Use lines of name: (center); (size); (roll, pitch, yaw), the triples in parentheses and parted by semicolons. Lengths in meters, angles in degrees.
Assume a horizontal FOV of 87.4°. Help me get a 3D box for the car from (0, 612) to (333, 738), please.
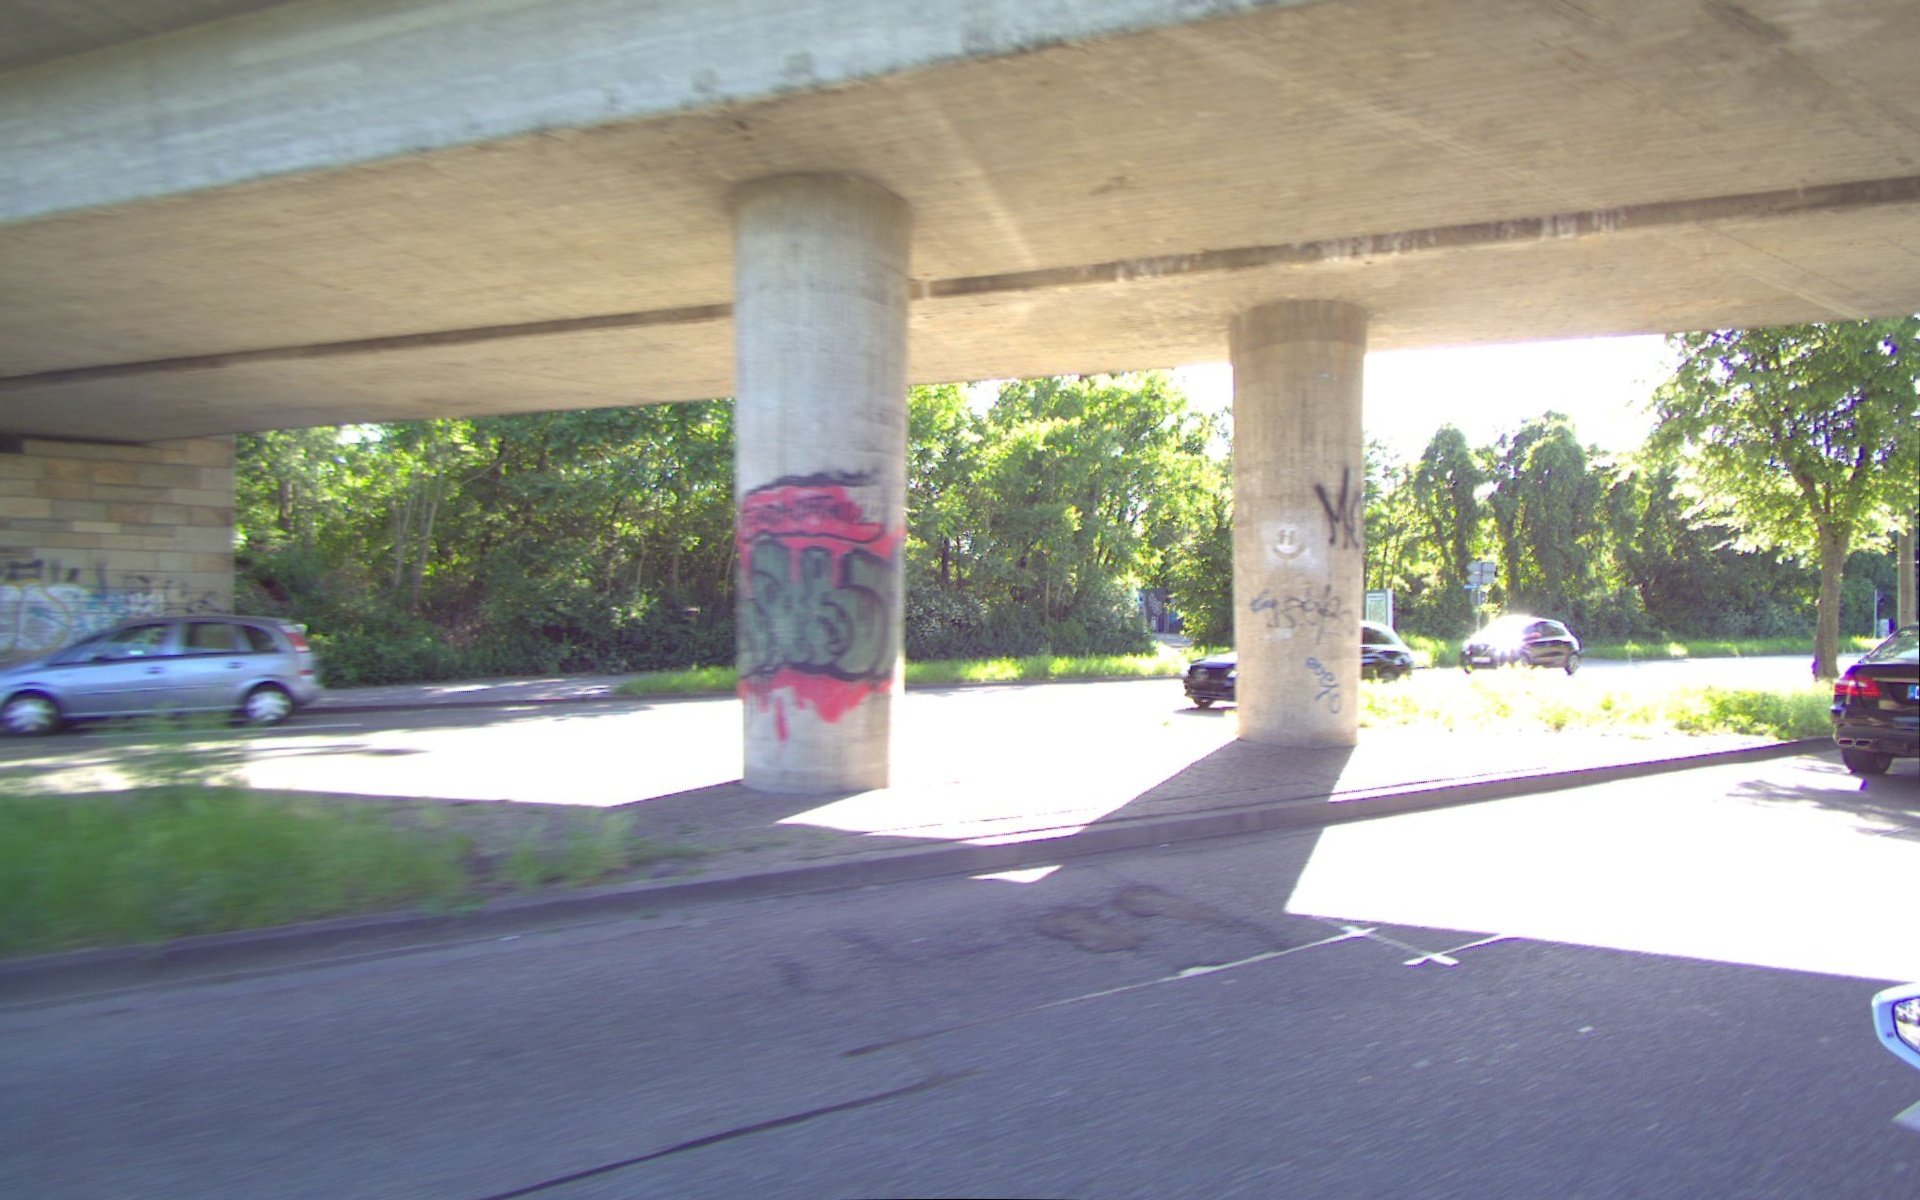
car: (-11.637, 1.036, 14.638); (4.130, 1.638, 1.721); (1, -2, -30)

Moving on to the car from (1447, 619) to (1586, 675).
car: (15.581, 1.294, 28.115); (3.597, 1.480, 1.834); (1, -2, -31)

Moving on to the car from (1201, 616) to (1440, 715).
car: (6.369, 1.134, 17.677); (3.953, 1.563, 1.834); (1, -4, -31)

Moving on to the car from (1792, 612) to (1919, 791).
car: (10.242, 0.899, 9.615); (4.859, 1.502, 1.950); (1, -1, -30)
